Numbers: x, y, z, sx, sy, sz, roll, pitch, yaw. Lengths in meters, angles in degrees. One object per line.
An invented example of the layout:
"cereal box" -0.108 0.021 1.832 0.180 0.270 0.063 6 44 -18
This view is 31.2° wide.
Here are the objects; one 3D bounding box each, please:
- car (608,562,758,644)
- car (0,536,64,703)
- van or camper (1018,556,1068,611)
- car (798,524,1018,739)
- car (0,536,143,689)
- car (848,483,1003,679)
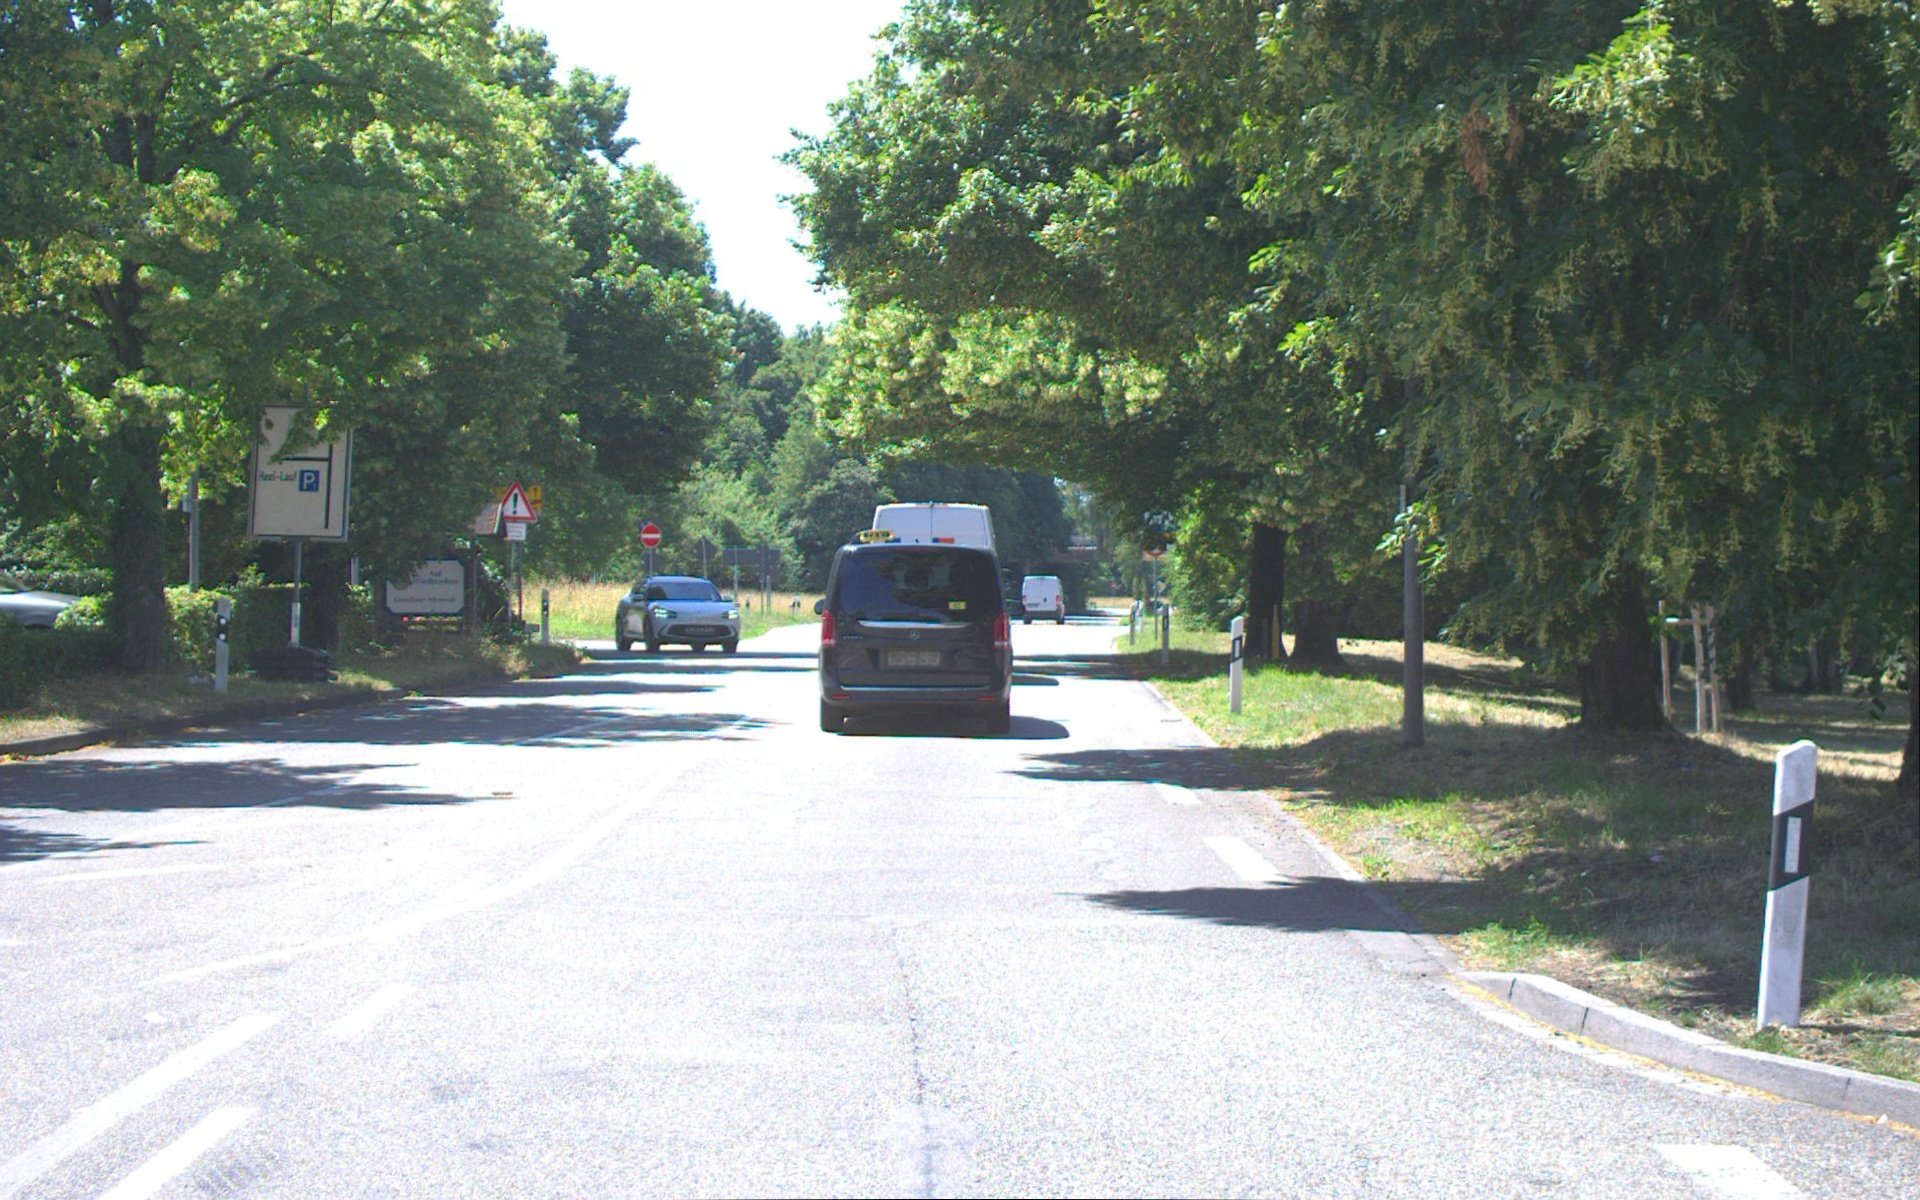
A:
"car" -5.861 0.043 72.211 2.093 1.583 4.476 2 0 -18
"car" -12.302 0.131 37.667 4.400 1.770 2.072 2 0 -1
"van or camper" 4.529 -0.880 189.259 2.632 2.919 5.206 2 0 1
"car" -0.483 0.288 34.938 1.993 1.946 5.005 2 0 0
"car" -12.337 0.090 41.569 4.400 1.770 2.072 2 0 -1
"car" -0.468 -0.279 51.107 2.078 2.693 4.666 2 0 1
